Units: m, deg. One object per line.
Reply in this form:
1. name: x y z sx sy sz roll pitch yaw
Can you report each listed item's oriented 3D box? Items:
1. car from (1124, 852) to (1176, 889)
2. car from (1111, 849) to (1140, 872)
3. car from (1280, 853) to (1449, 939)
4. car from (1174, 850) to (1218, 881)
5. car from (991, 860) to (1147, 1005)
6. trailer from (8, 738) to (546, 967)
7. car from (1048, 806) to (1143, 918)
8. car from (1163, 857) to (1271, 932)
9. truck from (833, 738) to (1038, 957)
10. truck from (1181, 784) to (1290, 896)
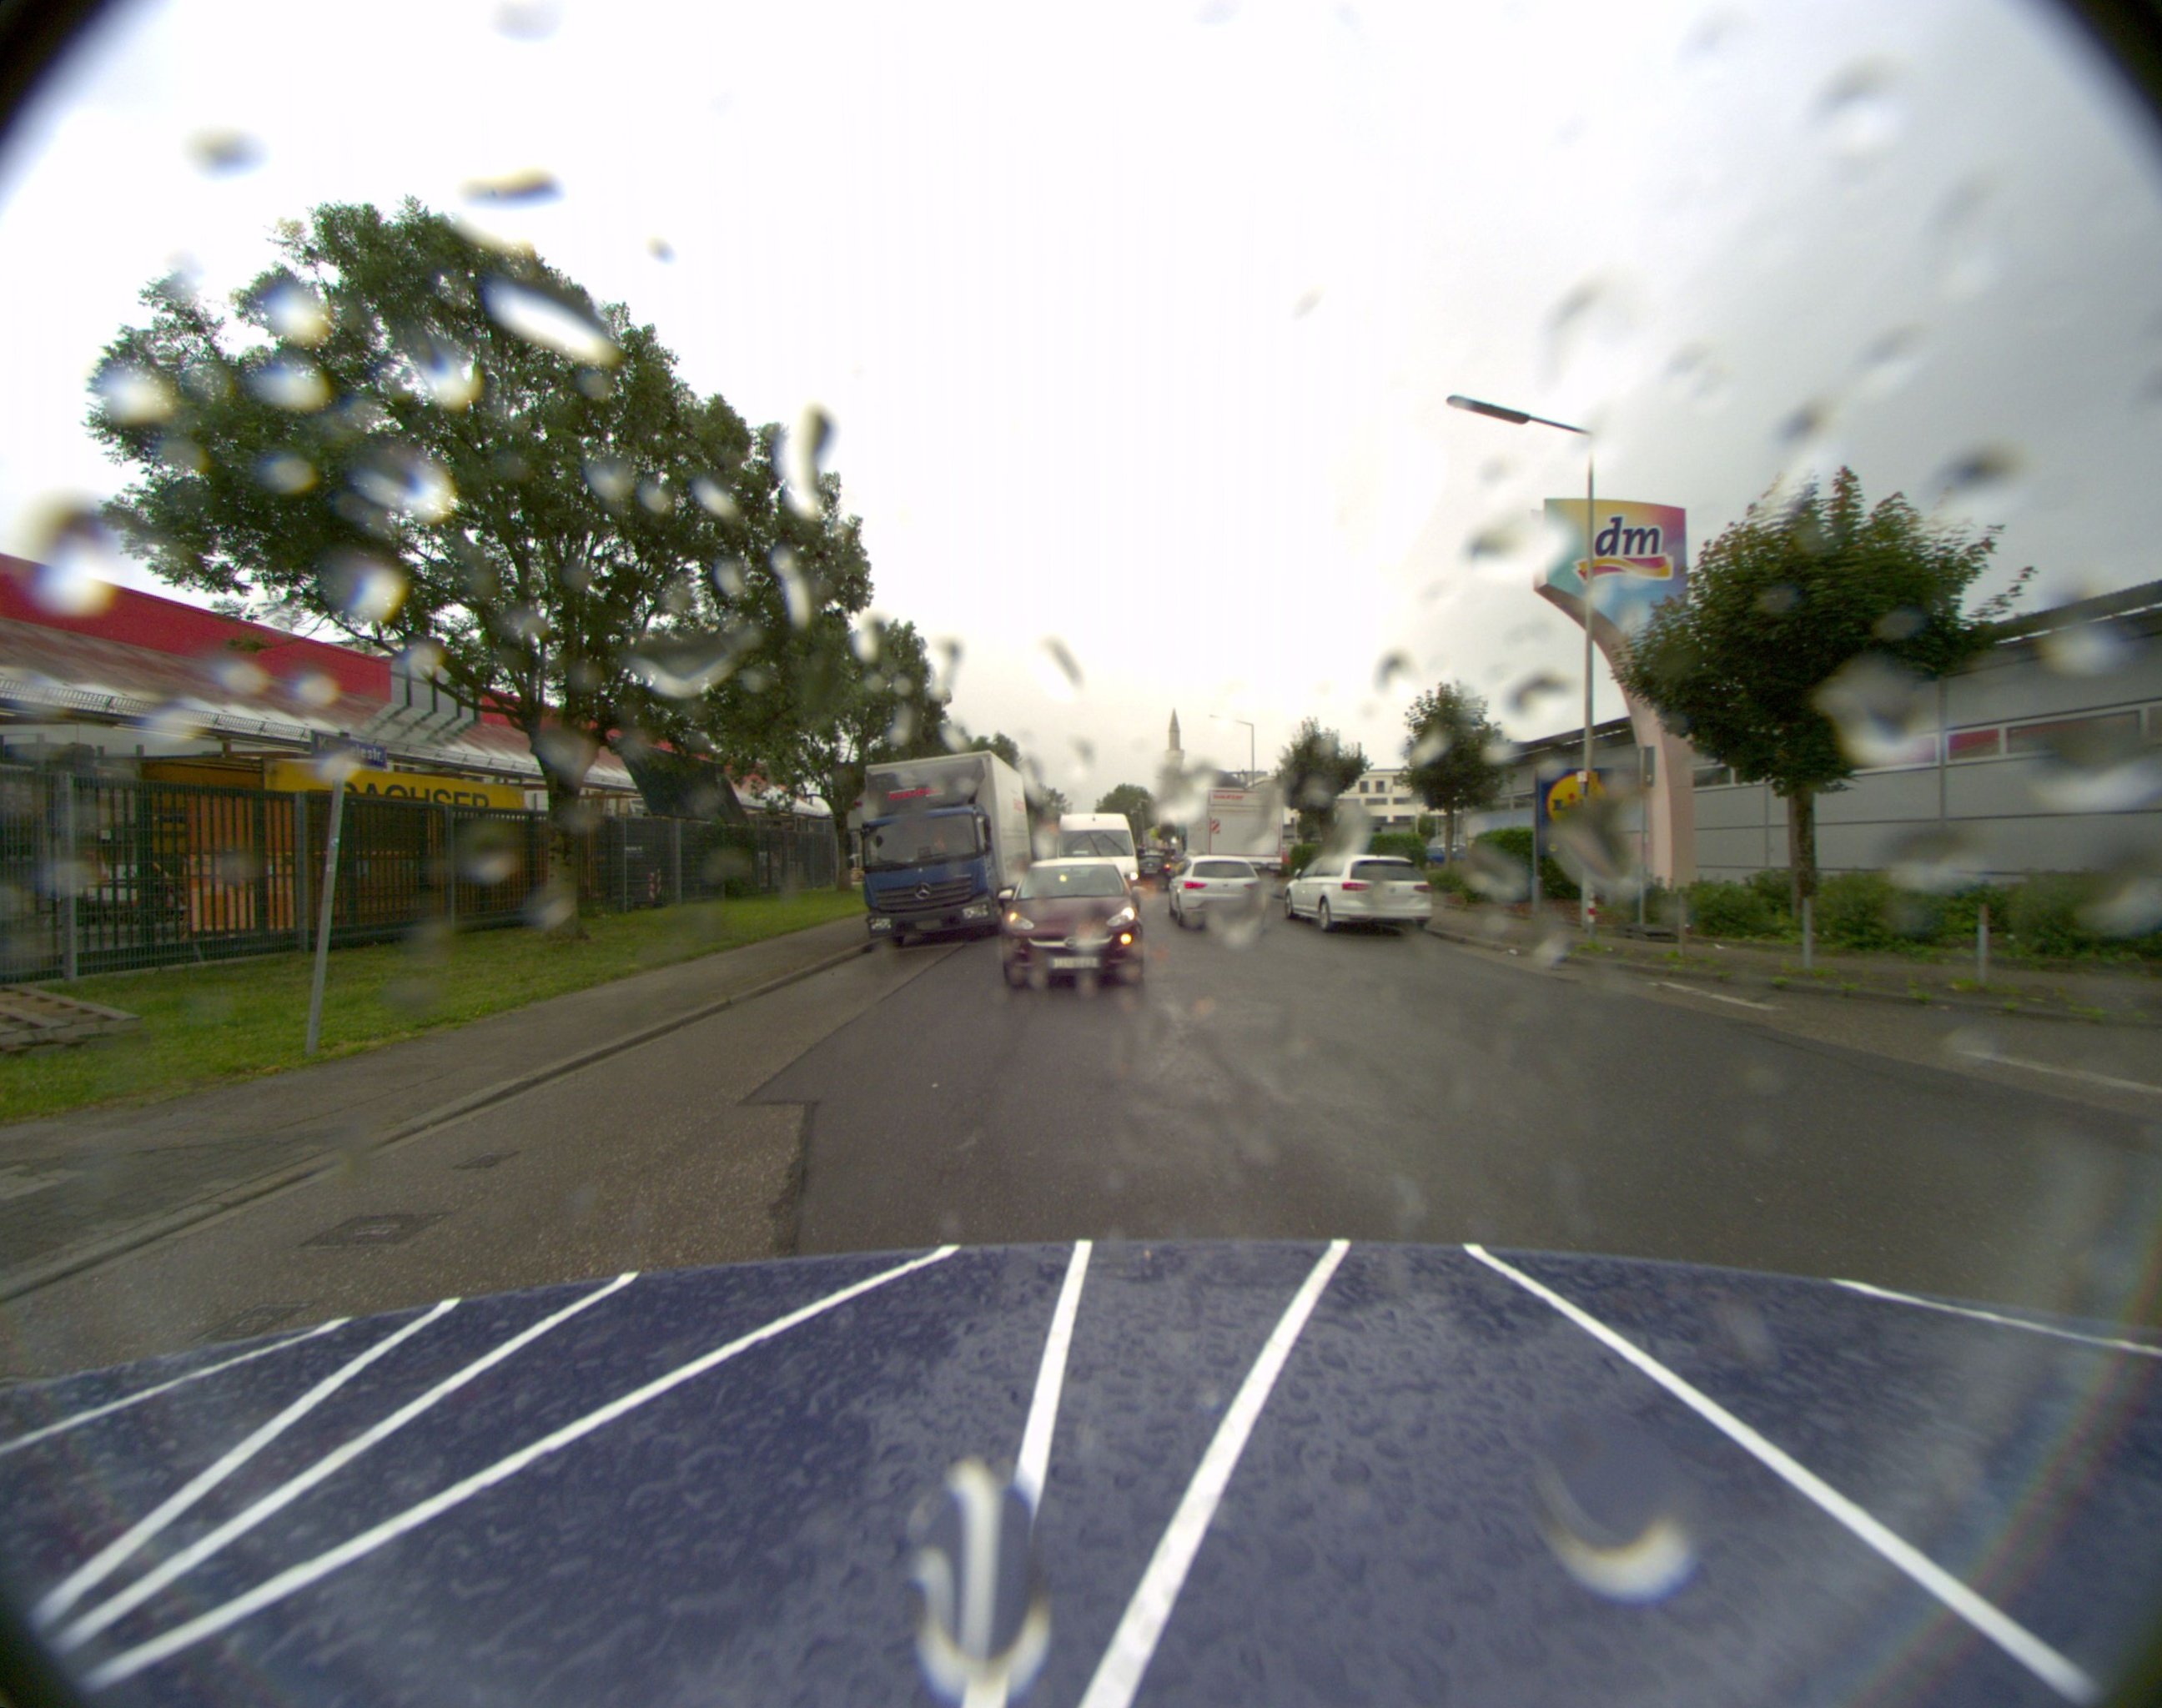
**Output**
1. car: 2.785 0.624 31.401 1.735 1.432 3.999 0 0 -1
2. car: 2.917 0.417 50.368 1.615 1.430 3.406 0 1 -1
3. car: 5.446 0.725 15.284 1.840 1.426 4.491 0 1 2
4. car: 5.749 0.557 38.395 1.691 1.457 3.513 -1 1 0
5. car: -0.108 0.869 10.045 1.637 1.447 3.577 -3 1 1
6. trailer: -18.234 -0.140 18.838 2.974 4.219 9.469 -1 2 1
7. car: 0.423 0.162 19.813 2.084 2.466 5.347 -1 1 2
8. car: 2.851 0.790 16.723 1.735 1.432 4.000 0 0 1
9. truck: -2.788 -0.142 17.357 2.678 3.671 8.009 -4 1 2
10. truck: 5.748 -0.506 29.591 2.888 3.724 7.868 -1 1 2
